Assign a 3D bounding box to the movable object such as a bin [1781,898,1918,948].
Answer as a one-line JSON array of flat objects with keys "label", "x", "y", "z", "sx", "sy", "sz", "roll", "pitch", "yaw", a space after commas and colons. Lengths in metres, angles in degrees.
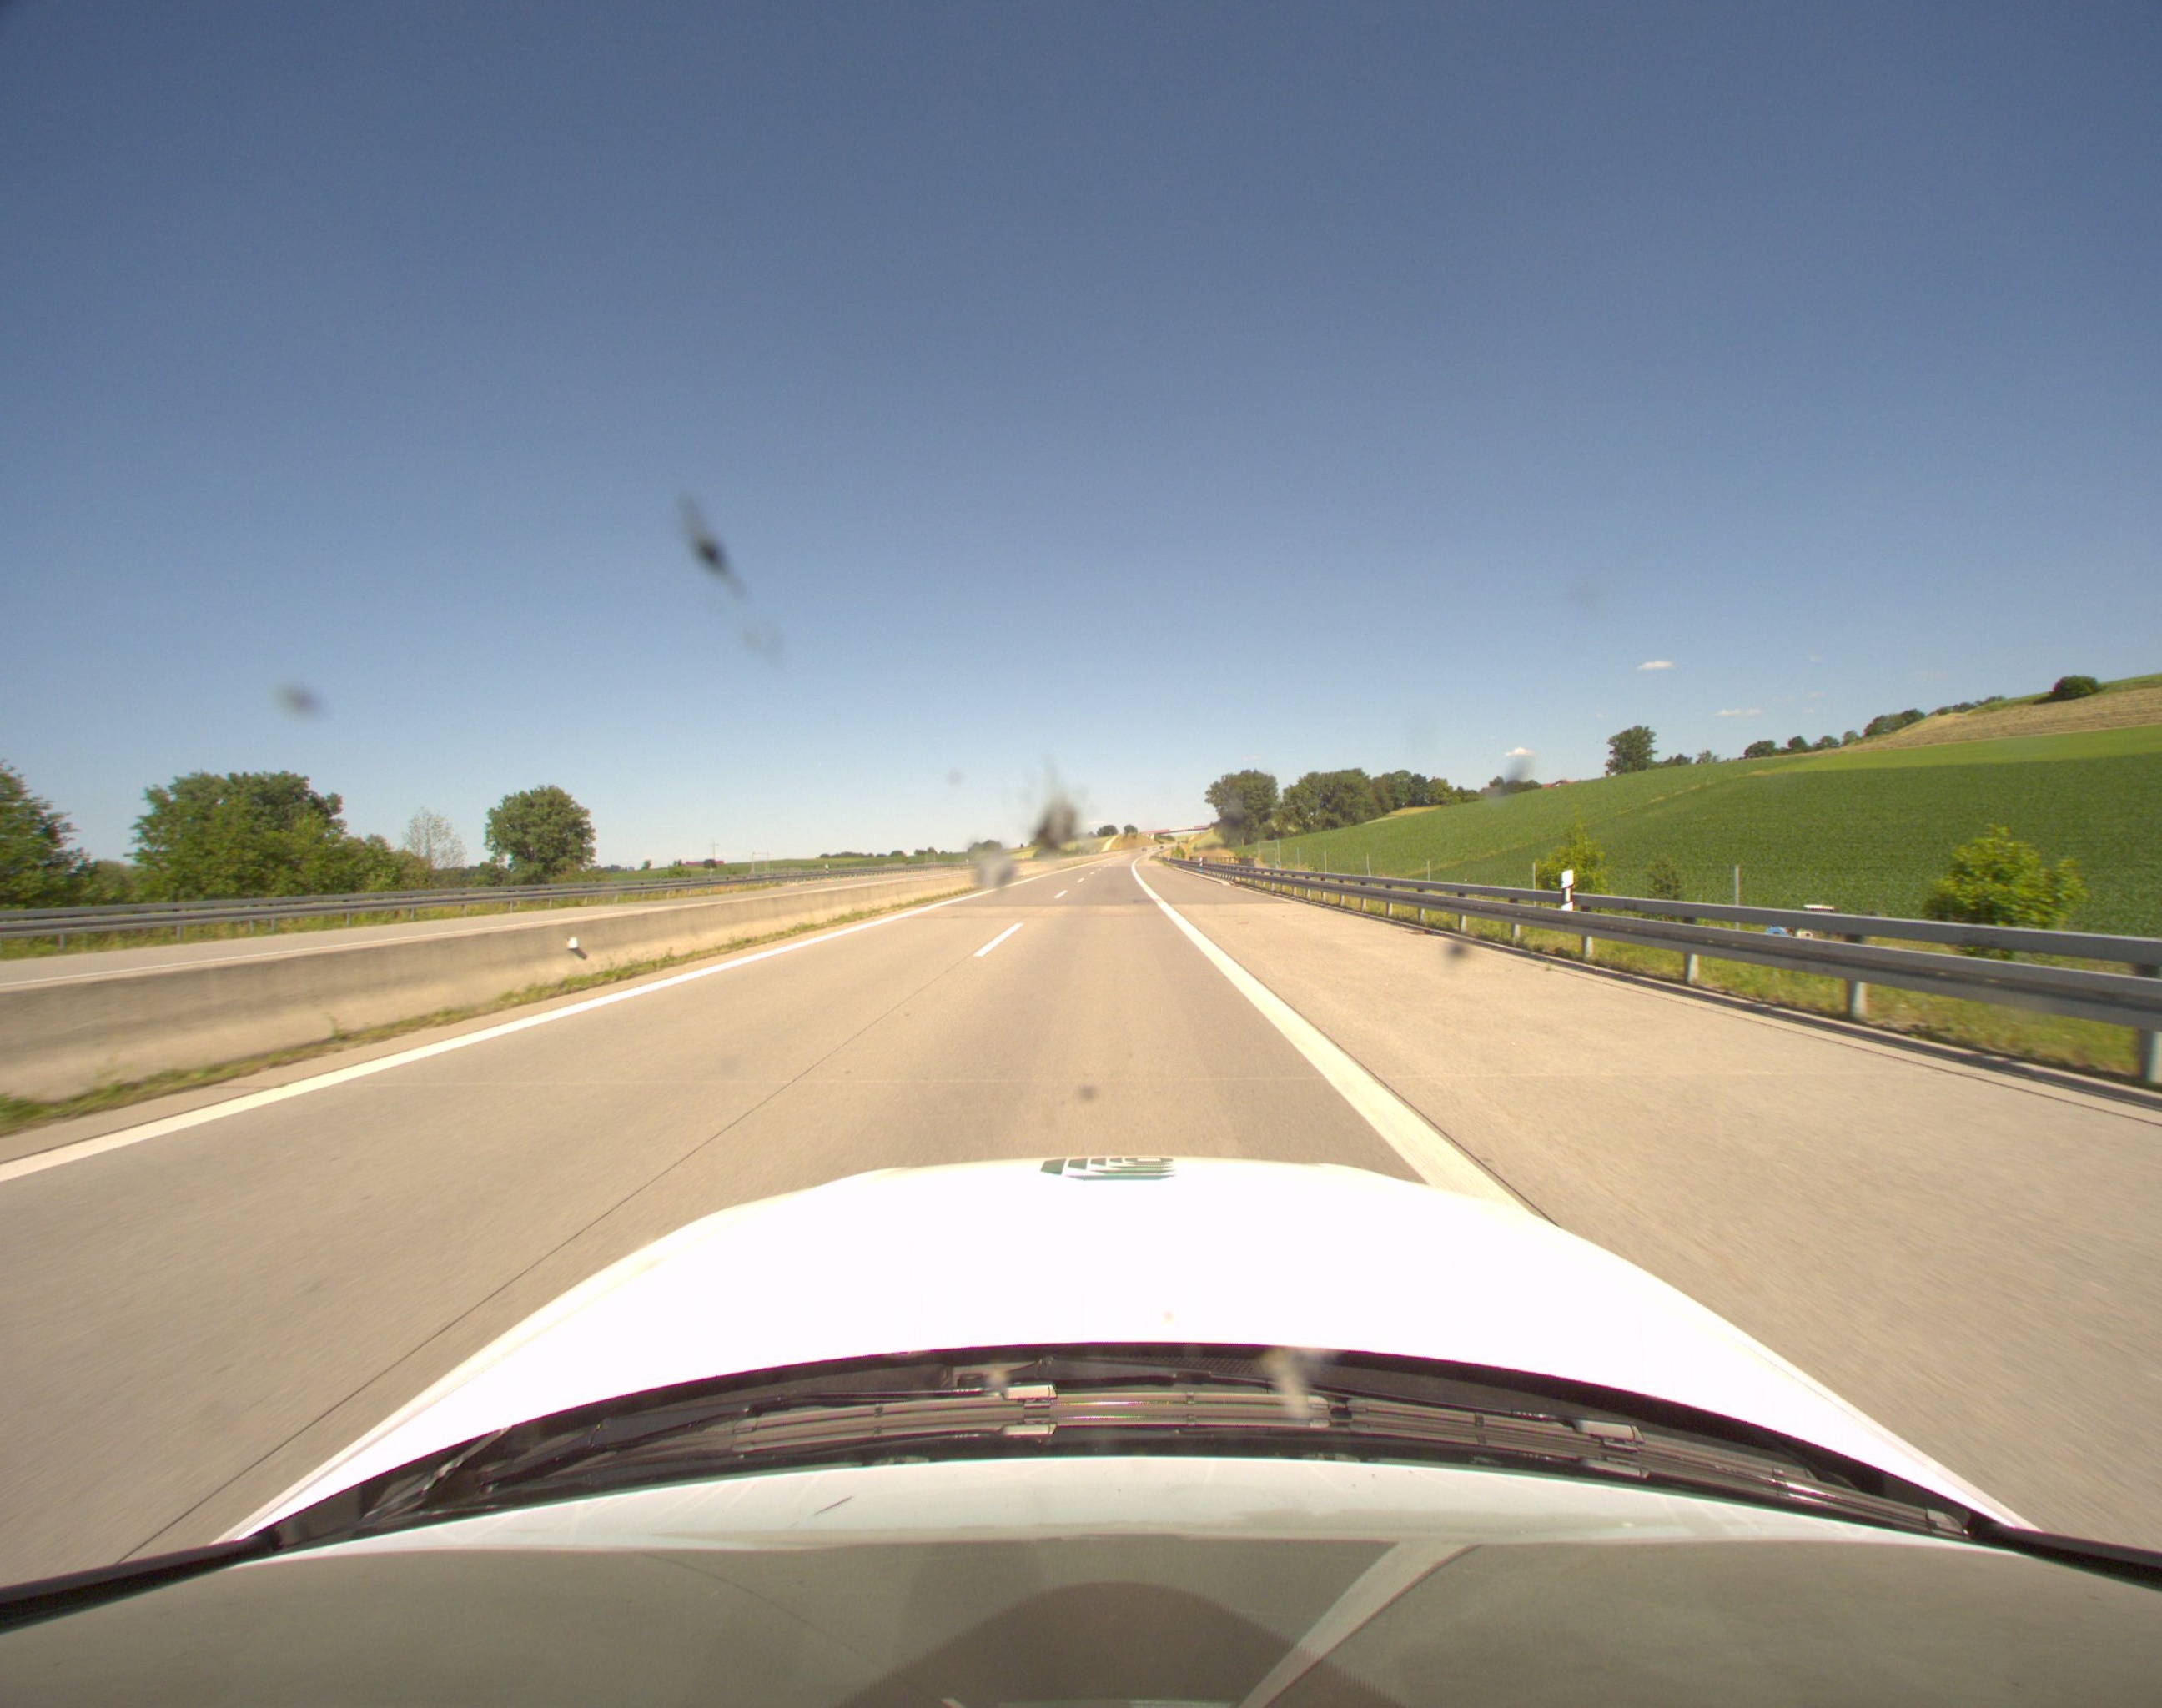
[{"label": "movable object such as a bin", "x": 48.647, "y": 4.287, "z": 51.793, "sx": 6.153, "sy": 2.771, "sz": 3.306, "roll": -2, "pitch": -2, "yaw": 42}]
